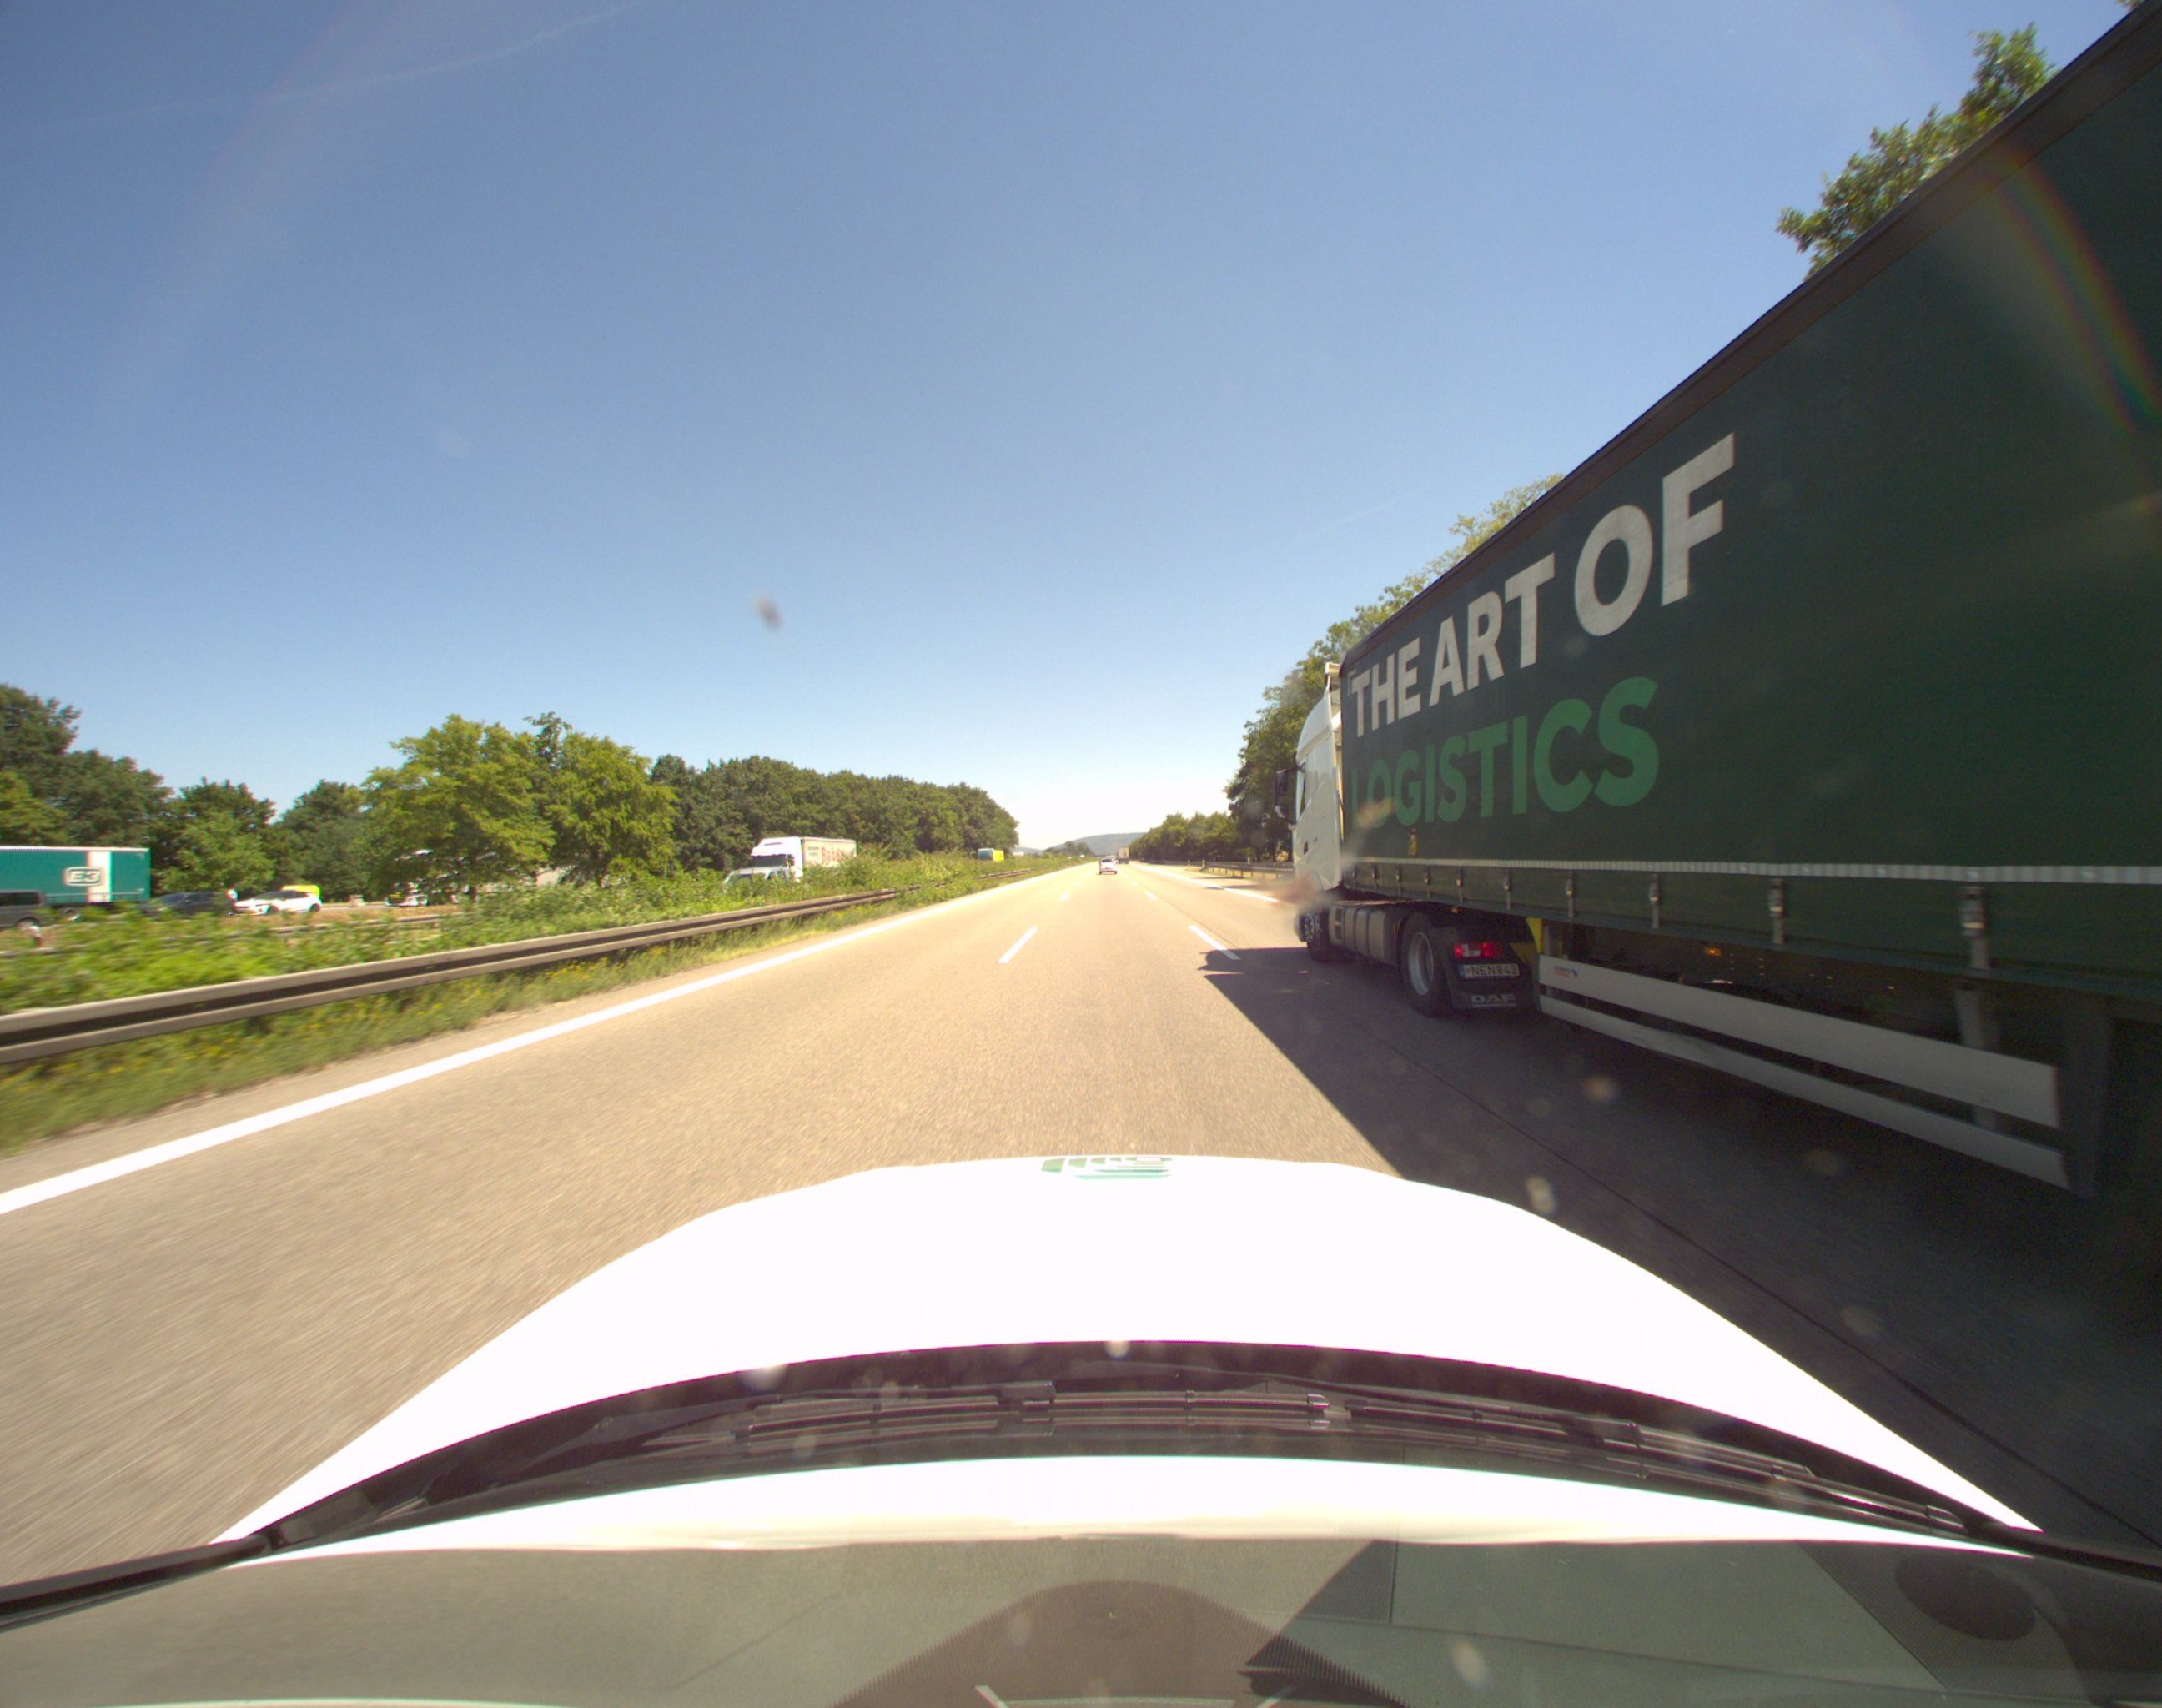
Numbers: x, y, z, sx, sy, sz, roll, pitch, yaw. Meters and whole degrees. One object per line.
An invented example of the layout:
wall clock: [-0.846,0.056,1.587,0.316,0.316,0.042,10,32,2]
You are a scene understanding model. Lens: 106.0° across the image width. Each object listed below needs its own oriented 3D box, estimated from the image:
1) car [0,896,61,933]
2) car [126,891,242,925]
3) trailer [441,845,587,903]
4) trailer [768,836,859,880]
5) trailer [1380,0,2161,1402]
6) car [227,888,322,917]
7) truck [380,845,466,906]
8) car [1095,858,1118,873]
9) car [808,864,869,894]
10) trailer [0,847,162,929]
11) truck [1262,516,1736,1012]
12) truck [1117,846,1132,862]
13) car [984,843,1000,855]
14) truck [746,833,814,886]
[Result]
car: [-45.255,2.563,33.452,1.464,1.429,4.006,-2,0,5]
car: [-45.368,2.712,41.324,1.548,1.429,3.741,-2,0,5]
trailer: [-42.282,1.387,61.400,2.278,3.870,10.729,-2,0,8]
trailer: [-18.846,0.280,58.247,2.551,2.779,10.953,-2,0,1]
trailer: [4.435,-0.878,1.801,3.171,4.627,12.051,-2,0,1]
car: [-45.947,2.734,46.520,1.464,1.429,3.741,-2,0,5]
truck: [-43.415,1.379,53.840,2.242,3.870,3.810,-2,0,7]
car: [2.406,1.070,77.754,1.809,1.405,3.311,-2,0,-5]
car: [-11.591,1.168,39.148,1.719,1.358,3.700,-1,0,2]
trailer: [-54.469,1.707,38.844,2.949,3.994,14.942,-2,0,8]
truck: [4.614,-0.844,10.698,3.170,4.607,5.949,-2,0,1]
truck: [10.396,-0.044,195.196,3.313,3.756,12.800,-1,0,2]
car: [-14.978,-0.787,137.362,1.986,2.013,4.002,-1,0,2]
truck: [-19.003,0.348,51.604,2.564,3.144,4.264,-2,0,1]
